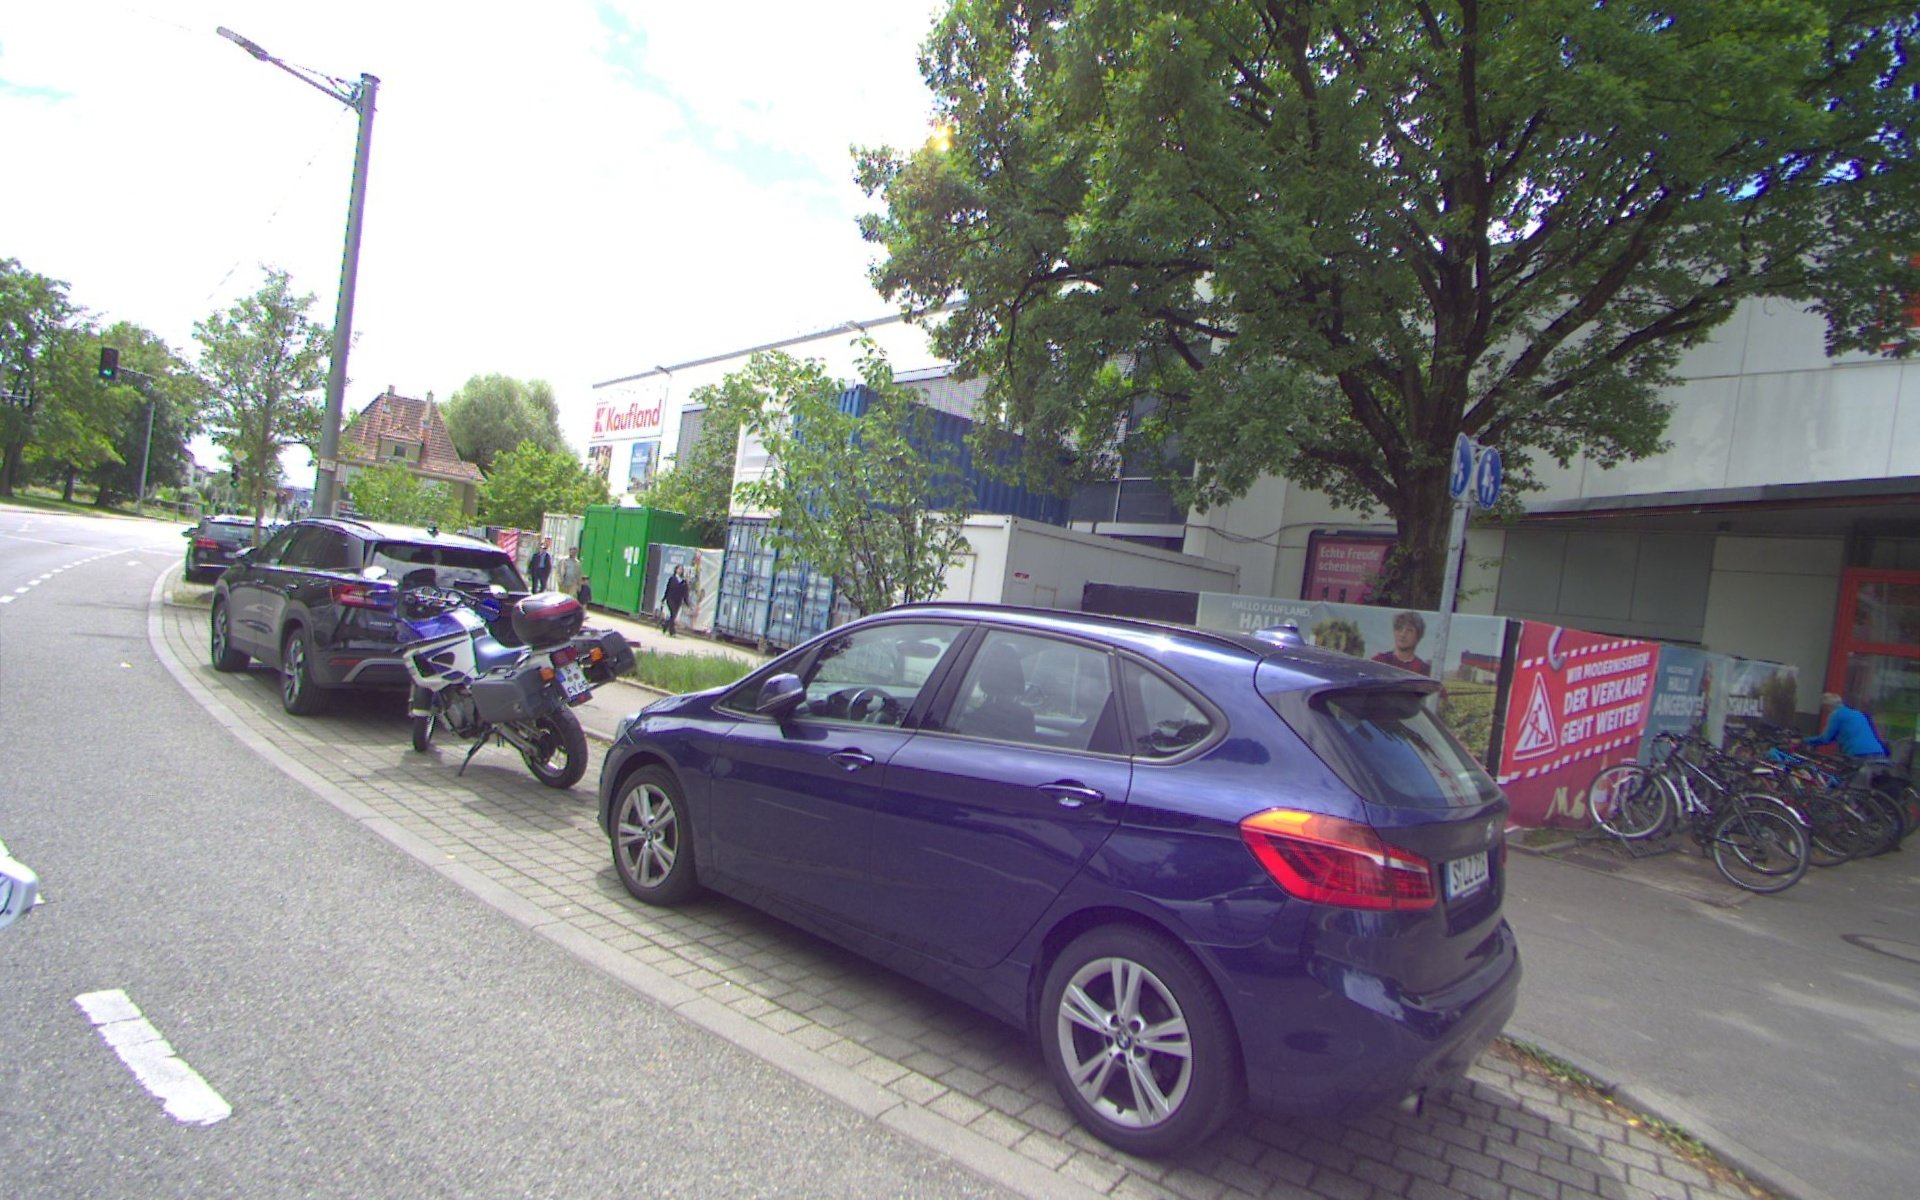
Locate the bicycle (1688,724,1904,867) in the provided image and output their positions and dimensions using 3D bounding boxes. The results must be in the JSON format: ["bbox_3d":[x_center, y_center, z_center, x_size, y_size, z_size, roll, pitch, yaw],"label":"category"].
[{"bbox_3d":[8.967,2.064,10.860,0.422,1.169,1.644,8,-1,-37],"label":"bicycle"}]

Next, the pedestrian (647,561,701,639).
[{"bbox_3d":[-6.432,0.004,22.627,0.739,1.637,0.759,7,0,-40],"label":"pedestrian"}]

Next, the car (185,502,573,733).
[{"bbox_3d":[-5.826,0.043,9.764,4.781,1.642,1.874,7,1,43],"label":"car"}]

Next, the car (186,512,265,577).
[{"bbox_3d":[-20.298,-1.564,27.848,1.559,1.511,3.960,6,0,-36],"label":"car"}]

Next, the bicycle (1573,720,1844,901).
[{"bbox_3d":[6.457,1.776,8.799,0.446,1.169,1.779,8,-1,-27],"label":"bicycle"}]

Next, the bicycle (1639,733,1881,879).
[{"bbox_3d":[8.024,2.019,10.158,0.518,1.053,1.778,6,1,-44],"label":"bicycle"}]

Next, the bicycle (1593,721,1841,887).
[{"bbox_3d":[7.095,1.877,9.546,0.495,1.169,1.763,8,-1,-23],"label":"bicycle"}]

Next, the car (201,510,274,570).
[{"bbox_3d":[-23.338,-1.964,32.509,1.726,1.637,4.343,5,1,-36],"label":"car"}]

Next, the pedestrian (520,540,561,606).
[{"bbox_3d":[-11.701,-0.761,28.042,0.649,1.718,0.835,7,0,-40],"label":"pedestrian"}]

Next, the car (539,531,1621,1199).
[{"bbox_3d":[0.157,0.701,4.503,4.367,1.598,1.914,7,1,41],"label":"car"}]

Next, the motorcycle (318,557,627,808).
[{"bbox_3d":[-3.413,0.475,6.924,2.228,1.323,1.069,7,2,41],"label":"motorcycle"}]

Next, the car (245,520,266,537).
[{"bbox_3d":[-81.443,-8.232,116.330,1.822,1.637,4.111,7,0,-35],"label":"car"}]

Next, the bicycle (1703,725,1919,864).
[{"bbox_3d":[9.506,2.127,11.260,0.436,1.169,1.748,8,-1,-39],"label":"bicycle"}]

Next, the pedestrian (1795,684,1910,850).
[{"bbox_3d":[10.428,1.924,11.765,0.618,1.779,0.741,4,2,-36],"label":"pedestrian"}]

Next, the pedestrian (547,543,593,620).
[{"bbox_3d":[-9.232,-0.436,23.818,0.647,1.717,0.717,7,0,-37],"label":"pedestrian"}]

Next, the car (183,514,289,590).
[{"bbox_3d":[-17.281,-1.201,23.908,1.755,1.496,4.883,4,1,-39],"label":"car"}]

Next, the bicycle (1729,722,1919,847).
[{"bbox_3d":[10.886,2.263,12.547,0.525,1.169,1.895,8,-1,-34],"label":"bicycle"}]
